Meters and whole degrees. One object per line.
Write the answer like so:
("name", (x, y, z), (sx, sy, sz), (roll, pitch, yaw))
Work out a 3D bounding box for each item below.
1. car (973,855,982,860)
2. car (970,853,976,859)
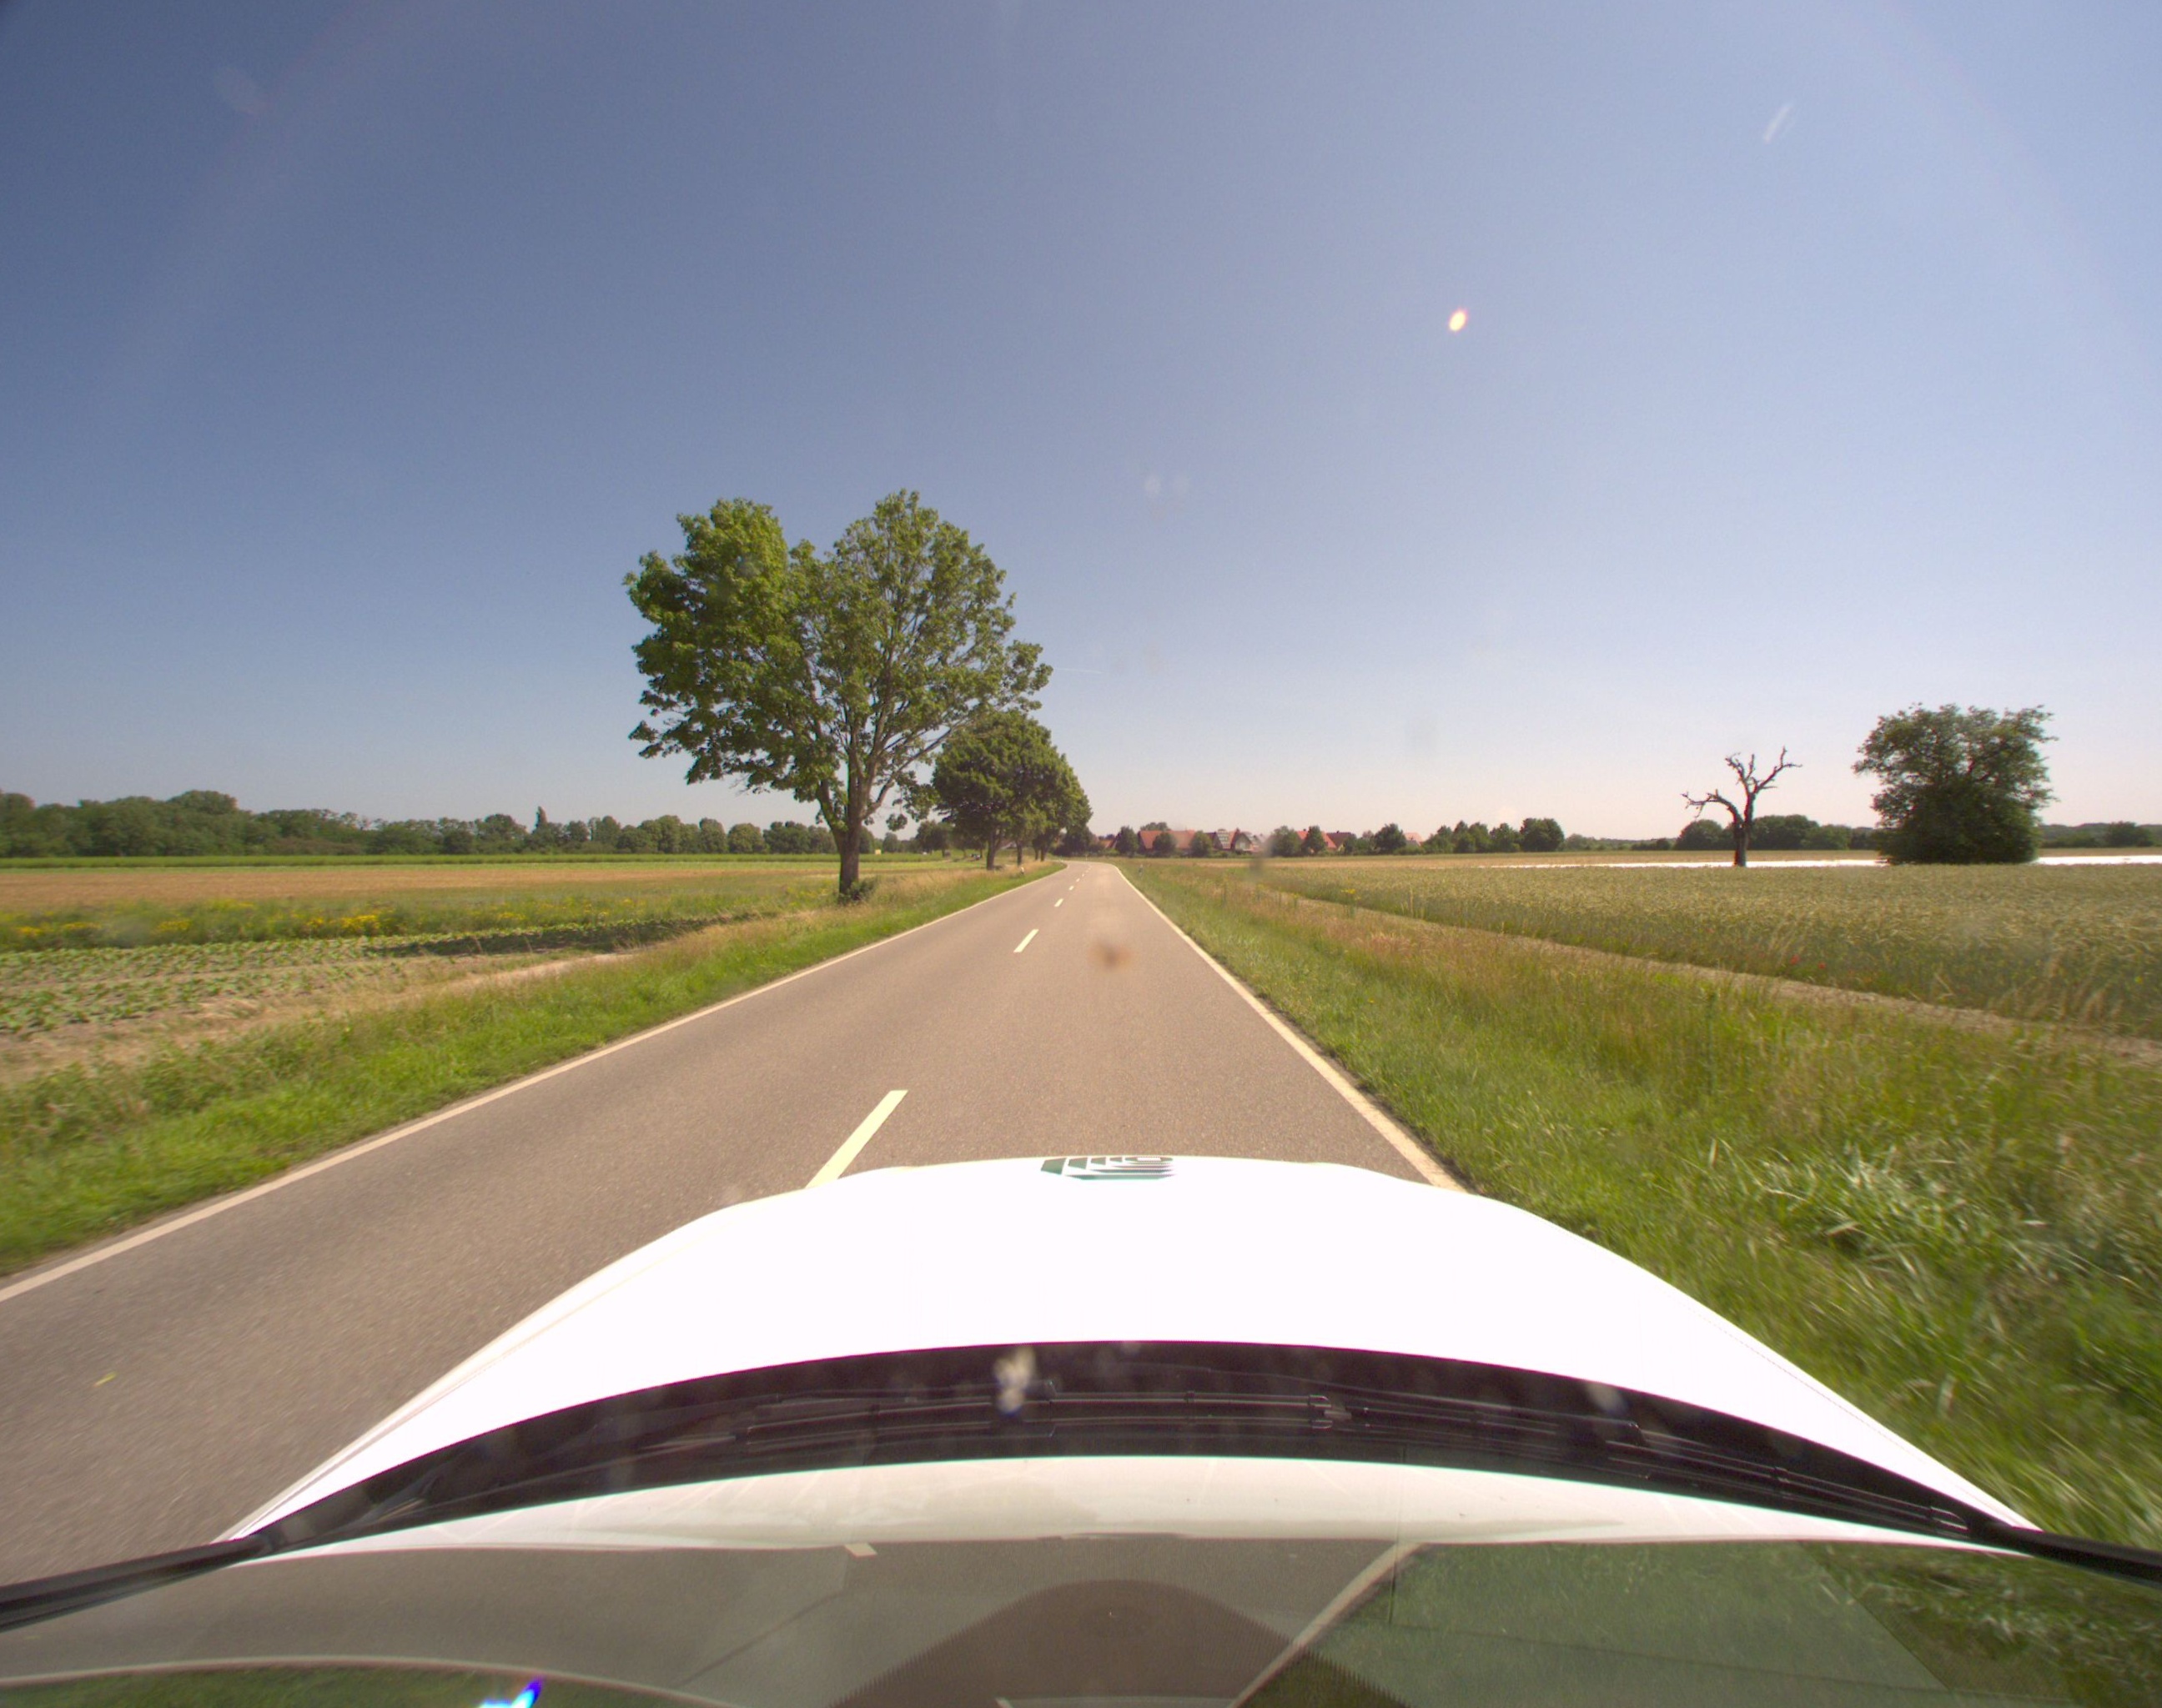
("car", (-29.856, 1.005, 234.911), (1.648, 1.429, 4.154), (-3, 0, -18))
("car", (-31.869, 0.687, 240.539), (1.596, 1.669, 3.404), (1, -1, -9))
